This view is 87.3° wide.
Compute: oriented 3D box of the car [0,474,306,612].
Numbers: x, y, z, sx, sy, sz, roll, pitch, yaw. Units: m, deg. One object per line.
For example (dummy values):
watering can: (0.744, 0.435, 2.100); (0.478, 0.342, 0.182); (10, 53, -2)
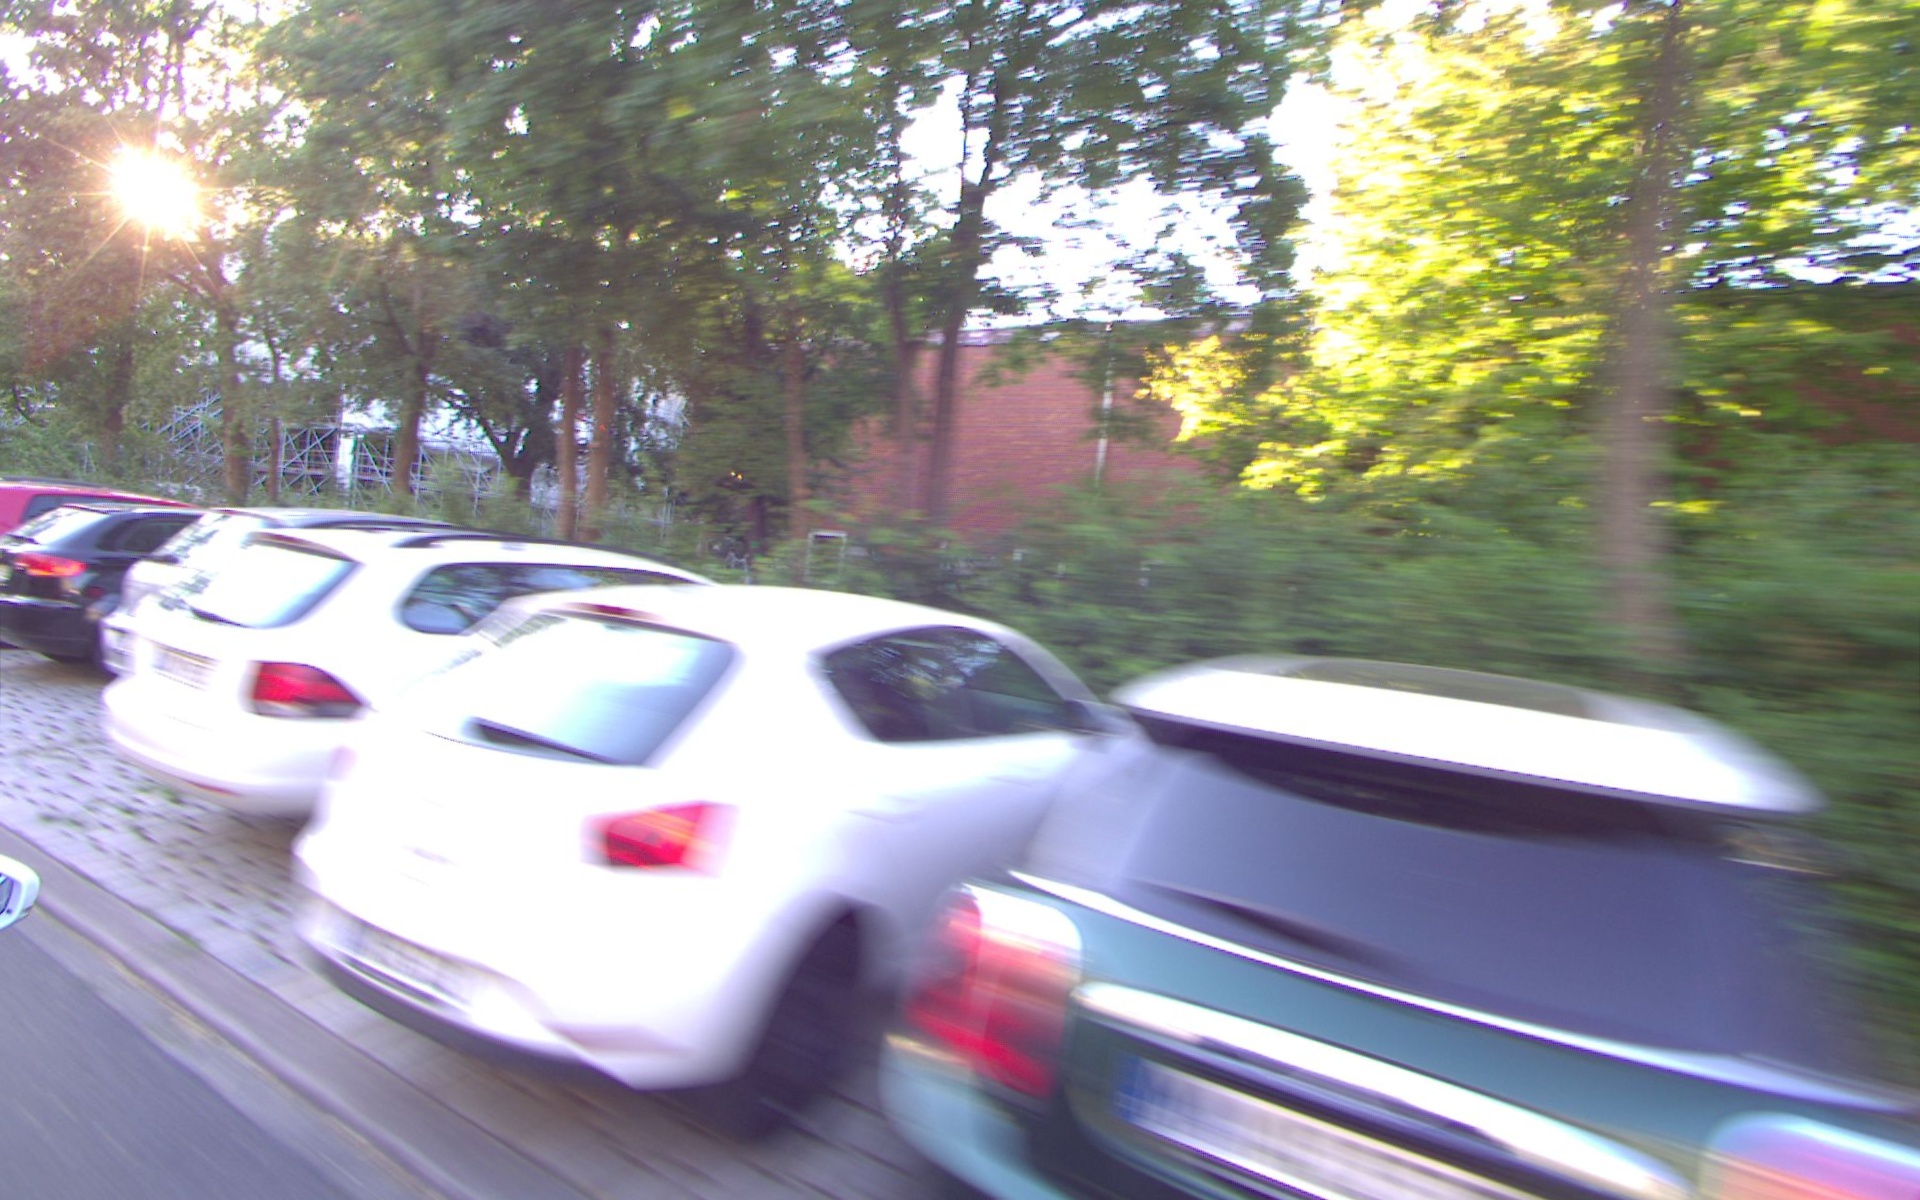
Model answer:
car: (-10.574, -0.688, 12.393); (1.802, 1.495, 3.805); (6, 3, 32)

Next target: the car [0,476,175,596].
car: (-13.143, -0.925, 13.199); (1.802, 1.495, 4.118); (7, 3, 33)

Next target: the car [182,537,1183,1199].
car: (-0.568, 0.650, 4.045); (1.705, 1.465, 3.666); (7, 4, 30)

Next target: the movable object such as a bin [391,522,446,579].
movable object such as a bin: (-15.507, -1.415, 28.796); (0.969, 1.457, 0.961); (7, 2, 35)

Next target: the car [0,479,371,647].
car: (-8.537, -0.388, 10.438); (1.728, 1.495, 3.805); (6, 3, 32)

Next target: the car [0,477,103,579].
car: (-15.495, -1.195, 14.880); (1.802, 1.474, 3.922); (7, 3, 33)

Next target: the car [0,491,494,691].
car: (-6.539, -0.114, 9.219); (1.728, 1.414, 3.747); (6, 3, 32)

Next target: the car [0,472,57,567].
car: (-17.489, -1.465, 16.422); (1.712, 1.577, 3.714); (7, 3, 28)

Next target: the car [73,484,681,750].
car: (-4.290, 0.064, 7.945); (1.790, 1.519, 3.723); (6, 3, 32)

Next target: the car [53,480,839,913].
car: (-2.546, 0.333, 5.820); (1.705, 1.574, 3.666); (7, 4, 30)

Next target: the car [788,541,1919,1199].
car: (1.330, 0.762, 2.931); (1.643, 1.547, 3.610); (7, 4, 30)
